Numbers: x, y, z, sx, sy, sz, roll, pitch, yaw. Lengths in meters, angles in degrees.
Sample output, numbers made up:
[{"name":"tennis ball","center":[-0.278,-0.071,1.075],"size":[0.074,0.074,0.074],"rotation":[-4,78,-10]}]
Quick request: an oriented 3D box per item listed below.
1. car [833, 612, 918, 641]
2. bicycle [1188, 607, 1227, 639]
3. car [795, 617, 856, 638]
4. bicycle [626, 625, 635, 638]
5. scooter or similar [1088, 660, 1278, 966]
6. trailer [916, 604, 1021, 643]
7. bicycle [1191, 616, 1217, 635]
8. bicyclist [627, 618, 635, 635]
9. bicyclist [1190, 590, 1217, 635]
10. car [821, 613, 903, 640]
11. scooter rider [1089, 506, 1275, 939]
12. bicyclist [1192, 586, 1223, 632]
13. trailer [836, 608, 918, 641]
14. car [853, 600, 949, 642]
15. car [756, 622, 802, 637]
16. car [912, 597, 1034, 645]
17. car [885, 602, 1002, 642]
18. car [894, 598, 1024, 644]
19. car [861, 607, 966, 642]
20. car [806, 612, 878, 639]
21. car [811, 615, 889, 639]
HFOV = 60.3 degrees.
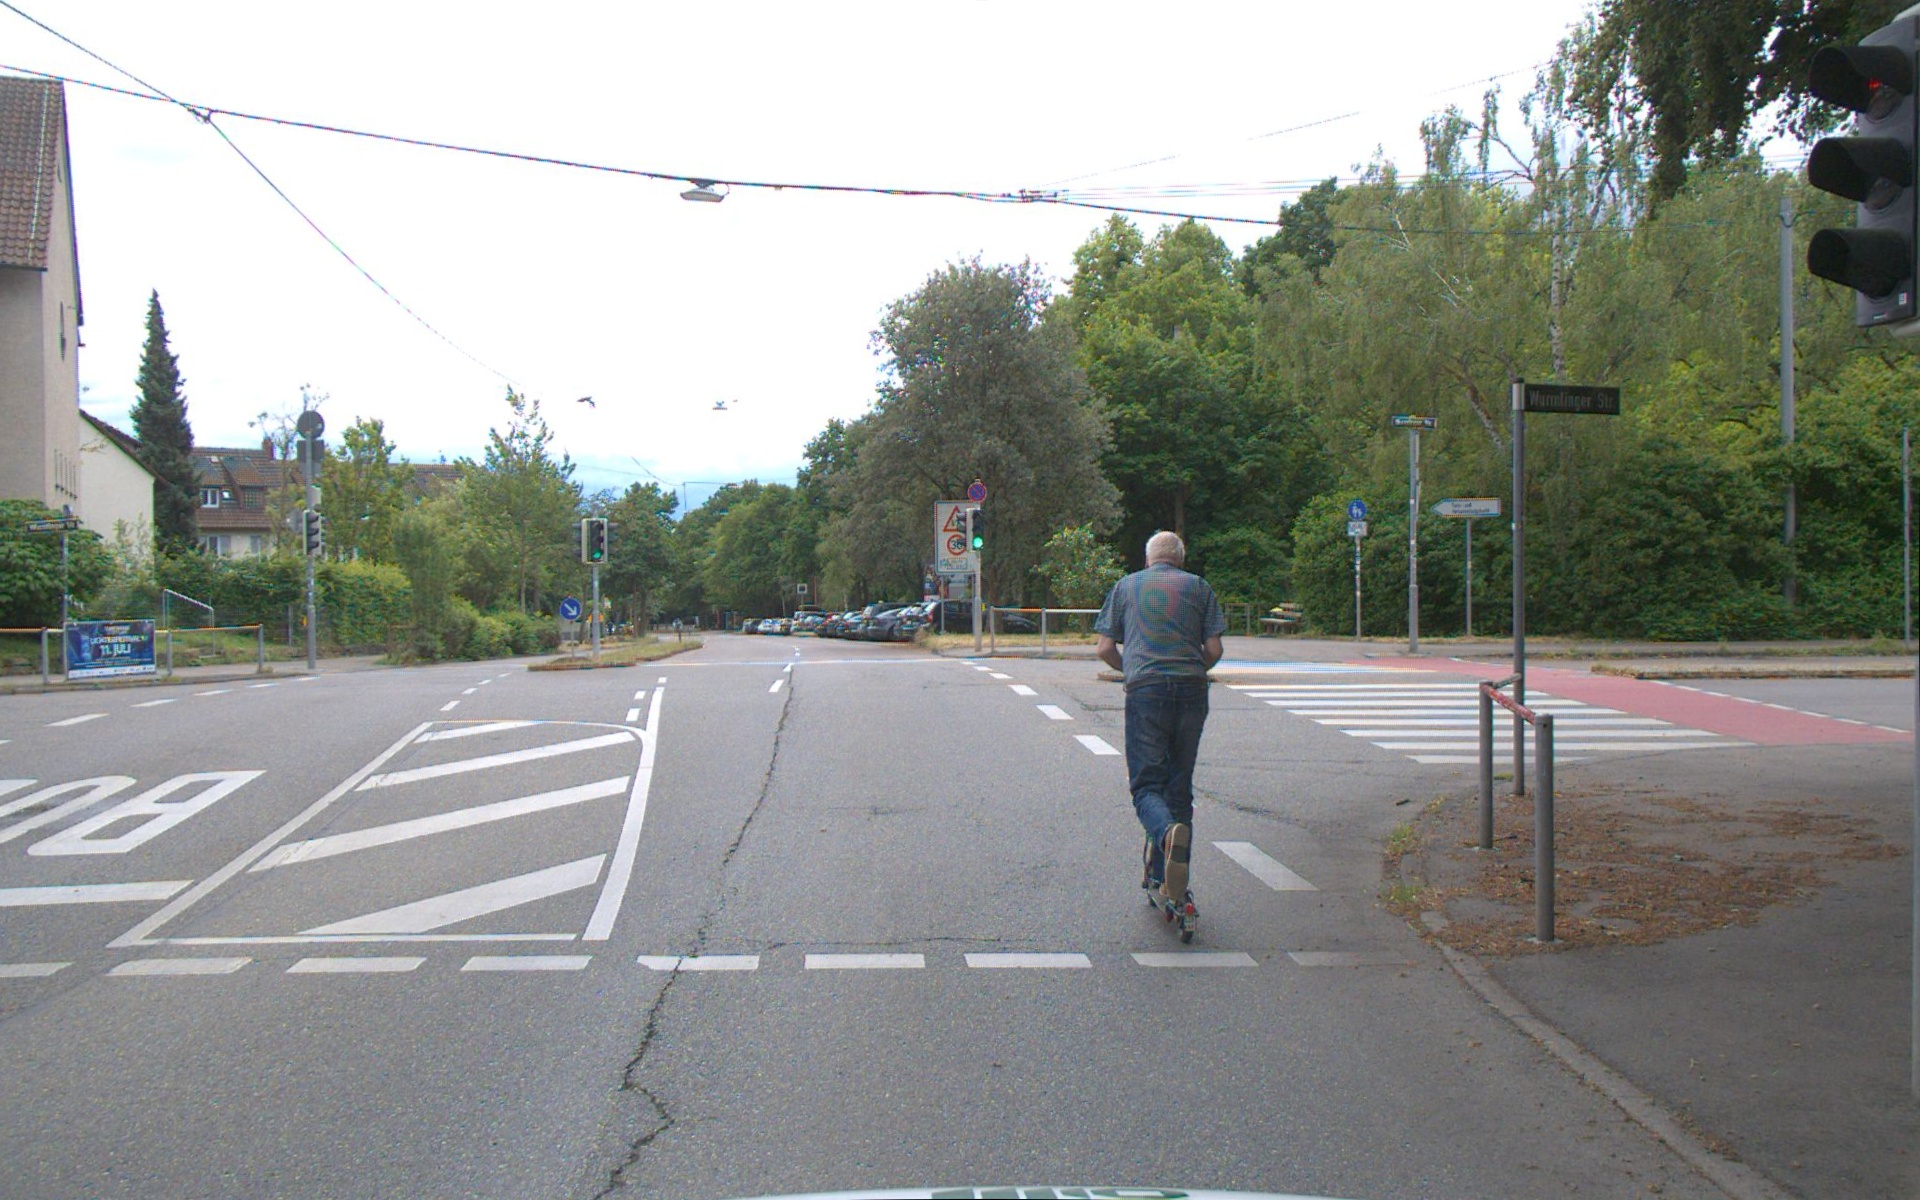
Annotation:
[{"name":"car","center":[-4.195,1.306,81.964],"size":[3.974,1.351,1.551],"rotation":[0,-2,-18]},{"name":"bicycle","center":[6.540,0.594,43.752],"size":[0.627,0.771,1.679],"rotation":[-1,1,-5]},{"name":"car","center":[-9.348,1.904,115.270],"size":[3.913,1.430,1.743],"rotation":[1,-1,-24]},{"name":"bicycle","center":[-34.323,3.278,172.510],"size":[0.829,1.288,2.645],"rotation":[0,0,-10]},{"name":"scooter or similar","center":[0.964,0.895,7.462],"size":[0.667,1.159,1.460],"rotation":[0,1,1]},{"name":"trailer","center":[0.279,0.833,58.087],"size":[3.350,1.289,1.608],"rotation":[0,-2,-19]},{"name":"bicycle","center":[6.750,0.711,45.838],"size":[0.507,0.506,0.987],"rotation":[-1,-2,-4]},{"name":"bicyclist","center":[-34.345,2.781,172.616],"size":[0.830,1.727,0.711],"rotation":[0,-1,-11]},{"name":"bicyclist","center":[6.752,0.363,45.853],"size":[0.507,1.208,0.966],"rotation":[-1,-2,-4]},{"name":"car","center":[-5.439,1.453,92.145],"size":[4.286,1.471,1.622],"rotation":[0,-1,-24]},{"name":"scooter rider","center":[0.950,0.488,7.333],"size":[0.667,1.760,1.197],"rotation":[0,1,1]},{"name":"bicyclist","center":[6.529,0.227,43.719],"size":[0.627,1.182,0.803],"rotation":[-1,1,-5]},{"name":"trailer","center":[-4.003,1.169,79.666],"size":[3.635,1.562,1.636],"rotation":[0,-1,-21]},{"name":"car","center":[-2.580,0.914,72.224],"size":[3.924,1.755,1.671],"rotation":[0,-2,-19]},{"name":"car","center":[-16.640,2.751,152.302],"size":[3.850,1.332,1.723],"rotation":[0,-1,-34]},{"name":"car","center":[0.390,0.660,52.593],"size":[3.650,1.502,1.572],"rotation":[0,0,-12]},{"name":"car","center":[-0.629,0.831,62.830],"size":[4.154,1.490,1.626],"rotation":[0,-1,-18]},{"name":"car","center":[-0.033,0.691,55.155],"size":[4.074,1.502,1.567],"rotation":[0,-1,-20]},{"name":"car","center":[-1.969,1.037,69.424],"size":[4.098,1.431,1.688],"rotation":[0,-2,-20]},{"name":"car","center":[-7.151,1.553,100.259],"size":[4.031,1.542,1.715],"rotation":[-1,-1,-32]},{"name":"car","center":[-6.469,1.609,97.313],"size":[4.254,1.364,1.721],"rotation":[0,-1,-23]}]
